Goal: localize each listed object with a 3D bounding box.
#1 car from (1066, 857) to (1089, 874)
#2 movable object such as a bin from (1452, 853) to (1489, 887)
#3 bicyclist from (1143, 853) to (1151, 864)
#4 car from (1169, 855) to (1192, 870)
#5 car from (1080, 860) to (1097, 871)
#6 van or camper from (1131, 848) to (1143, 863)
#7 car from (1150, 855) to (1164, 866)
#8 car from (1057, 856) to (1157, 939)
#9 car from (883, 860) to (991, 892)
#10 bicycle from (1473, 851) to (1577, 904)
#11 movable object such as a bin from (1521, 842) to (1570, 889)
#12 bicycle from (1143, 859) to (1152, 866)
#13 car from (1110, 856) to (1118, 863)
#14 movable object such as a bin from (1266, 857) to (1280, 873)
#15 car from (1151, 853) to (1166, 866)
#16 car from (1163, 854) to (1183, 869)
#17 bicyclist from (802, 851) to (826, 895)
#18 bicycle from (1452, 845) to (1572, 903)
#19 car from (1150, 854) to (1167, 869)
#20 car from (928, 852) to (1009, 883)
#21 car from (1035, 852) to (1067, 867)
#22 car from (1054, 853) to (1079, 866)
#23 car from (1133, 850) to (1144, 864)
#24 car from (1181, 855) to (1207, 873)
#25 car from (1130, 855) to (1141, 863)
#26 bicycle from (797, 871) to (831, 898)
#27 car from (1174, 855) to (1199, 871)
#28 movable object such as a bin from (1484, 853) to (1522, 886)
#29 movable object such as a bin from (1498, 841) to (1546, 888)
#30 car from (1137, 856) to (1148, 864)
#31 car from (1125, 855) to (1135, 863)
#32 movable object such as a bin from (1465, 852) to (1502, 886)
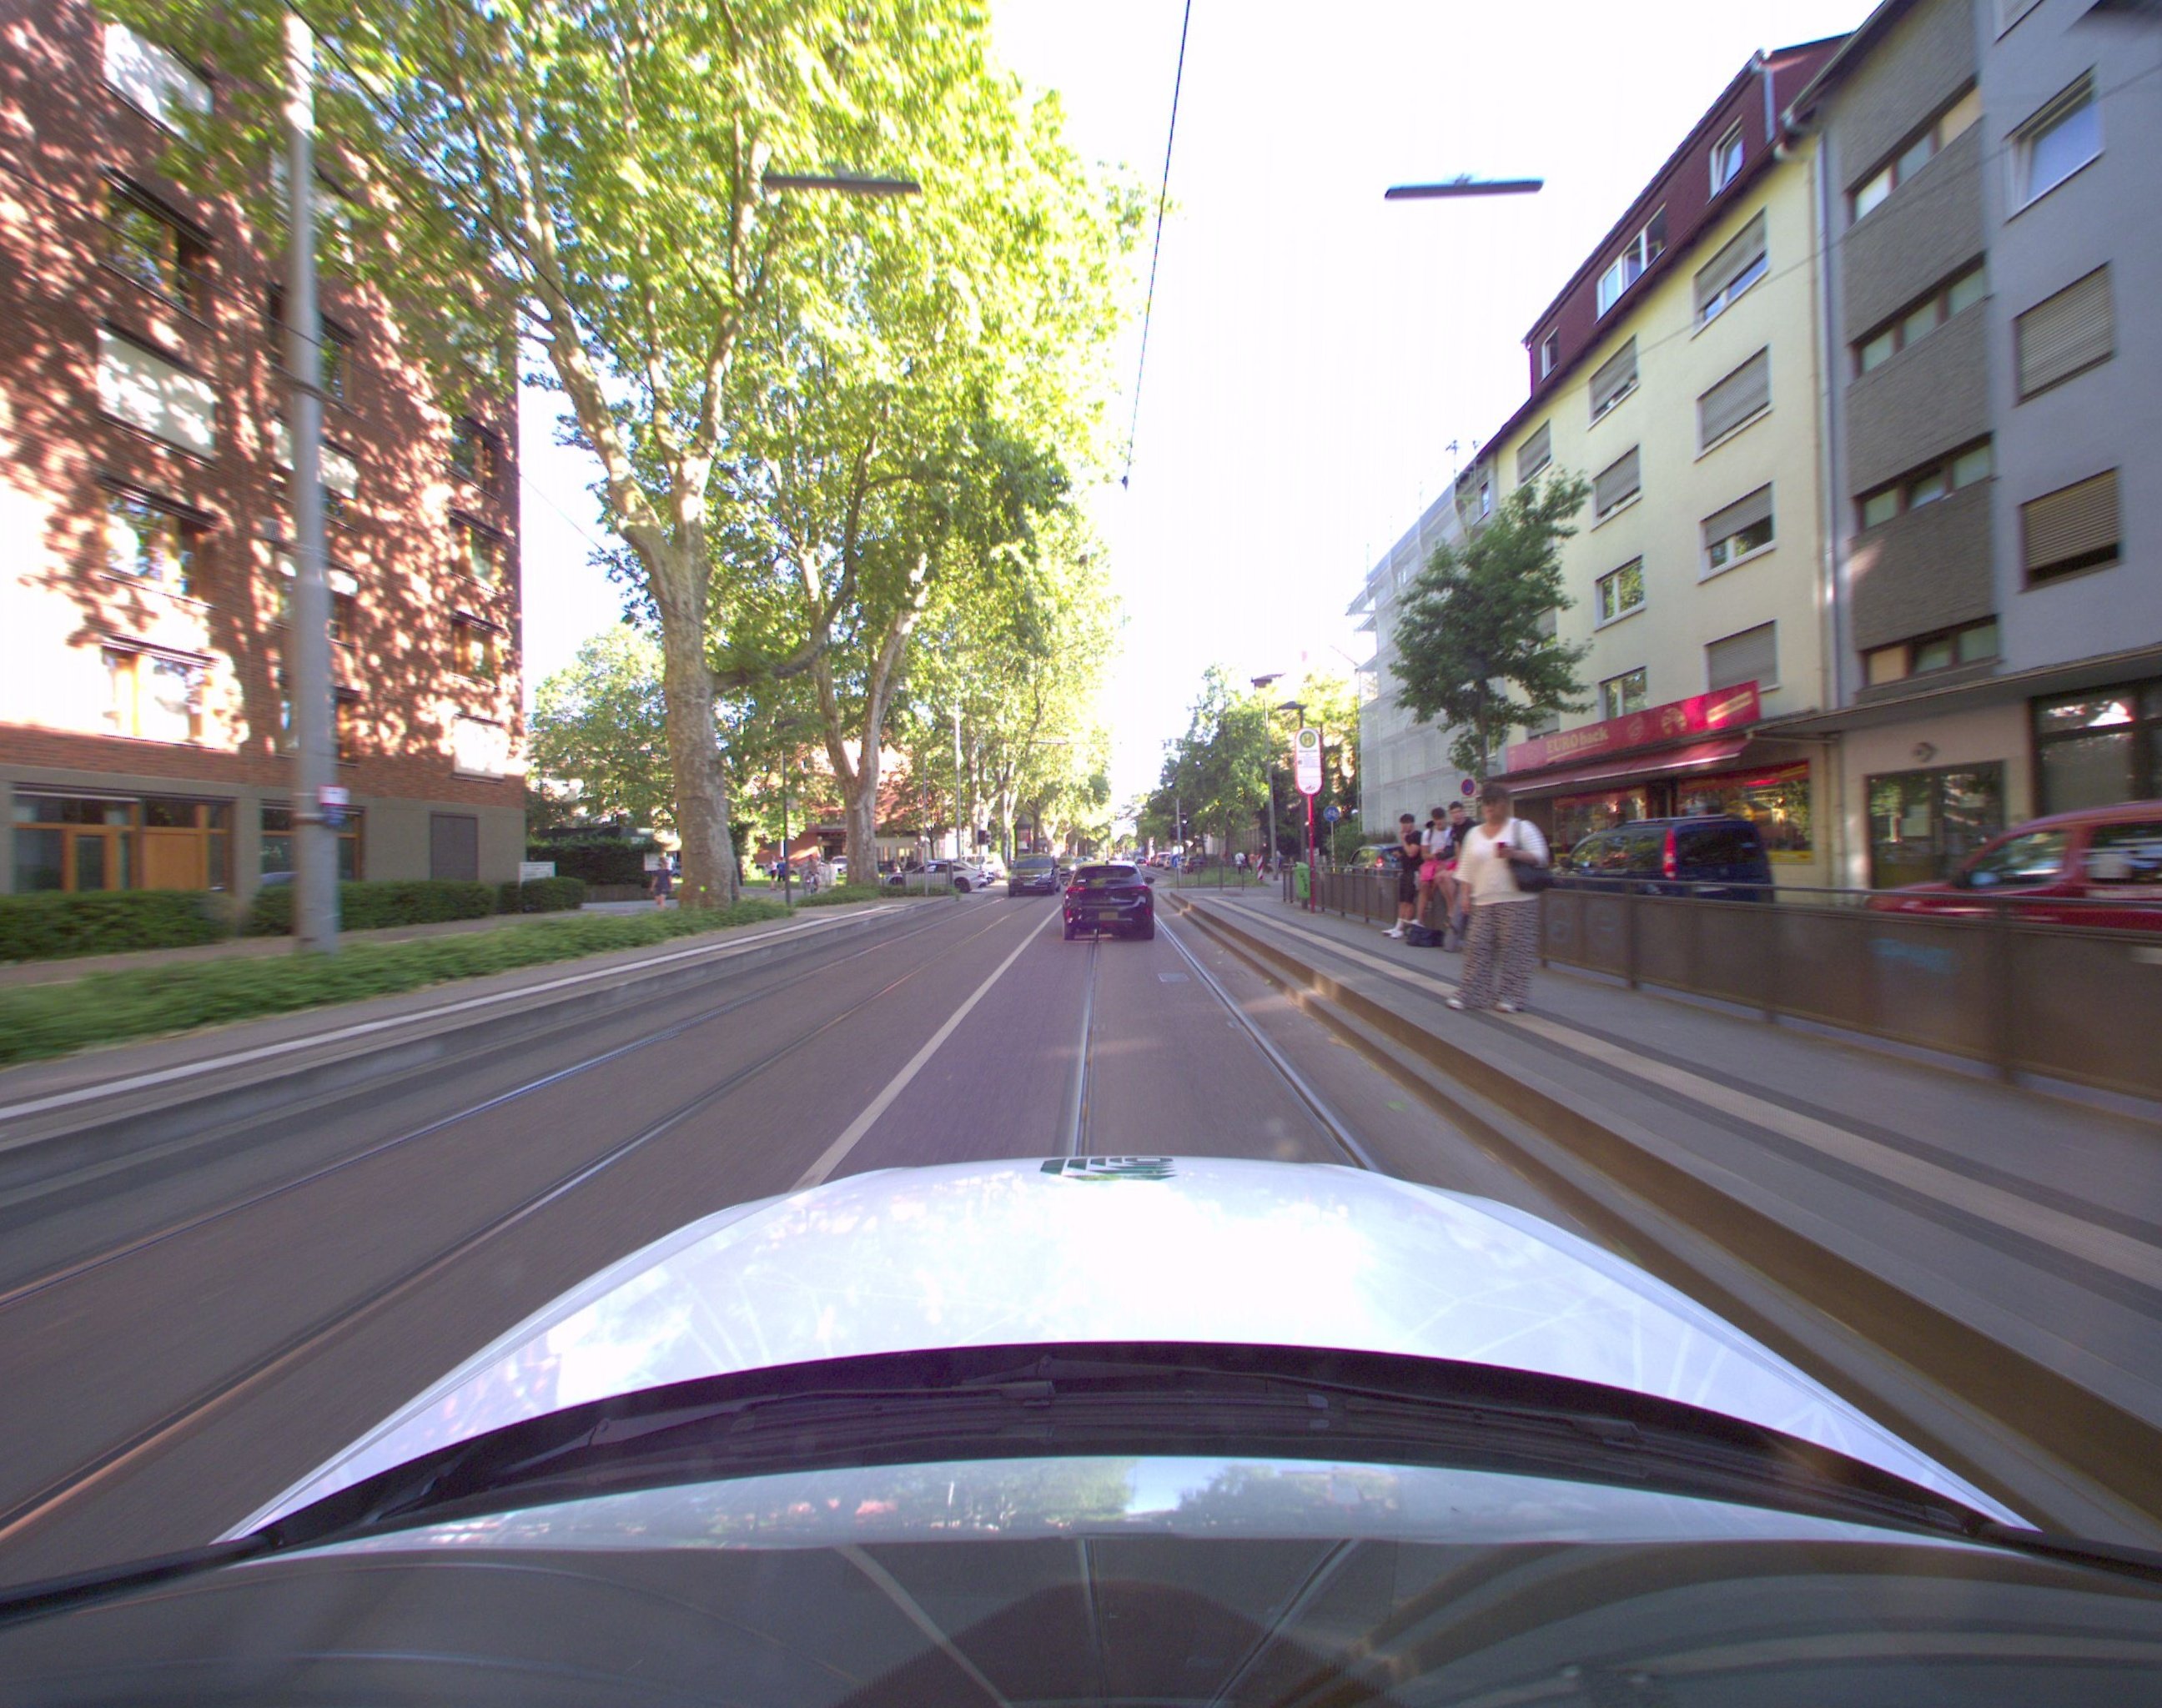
[{"bbox_3d":[-0.290,1.008,72.438,1.768,1.461,4.206,0,-1,2],"label":"car"},{"bbox_3d":[13.191,0.535,27.586,0.878,1.110,0.697,-3,-1,-1],"label":"movable object such as a bin"},{"bbox_3d":[8.555,0.599,105.132,0.955,1.499,1.094,0,-1,0],"label":"bicyclist"},{"bbox_3d":[10.643,0.875,87.441,1.878,1.467,4.593,-4,-1,0],"label":"car"},{"bbox_3d":[0.976,1.455,107.379,1.661,1.444,3.460,0,-1,-11],"label":"car"},{"bbox_3d":[12.413,0.447,181.576,2.246,3.216,5.532,-2,-1,2],"label":"van or camper"},{"bbox_3d":[11.449,1.008,122.882,1.706,1.514,4.036,-3,-1,0],"label":"car"},{"bbox_3d":[0.529,0.785,16.363,1.756,1.460,3.952,0,-1,2],"label":"car"},{"bbox_3d":[-6.716,1.024,38.374,4.753,1.460,1.953,0,-1,-3],"label":"car"},{"bbox_3d":[10.875,0.588,20.044,0.686,1.209,2.192,-2,-1,-26],"label":"bicycle"},{"bbox_3d":[13.979,0.333,24.523,0.920,1.350,0.824,-3,-1,-1],"label":"movable object such as a bin"},{"bbox_3d":[8.567,1.095,105.152,0.964,0.999,2.583,0,-1,0],"label":"bicycle"},{"bbox_3d":[9.171,1.441,225.534,2.246,1.841,5.532,-2,-1,2],"label":"car"},{"bbox_3d":[13.704,0.767,58.067,0.664,1.126,0.955,0,-1,-6],"label":"movable object such as a bin"},{"bbox_3d":[11.112,0.849,116.949,1.879,1.766,4.679,-2,-1,2],"label":"car"},{"bbox_3d":[10.384,0.867,92.190,1.877,1.568,4.243,-4,-1,1],"label":"car"},{"bbox_3d":[-11.033,0.792,33.652,0.697,1.788,0.839,0,-1,3],"label":"bicyclist"},{"bbox_3d":[10.038,0.460,19.041,2.196,1.209,1.030,-3,-1,1],"label":"bicycle"},{"bbox_3d":[10.223,0.996,107.828,1.877,1.851,4.969,-4,-1,2],"label":"car"},{"bbox_3d":[-6.747,0.810,49.123,4.556,1.834,1.938,0,-1,0],"label":"car"},{"bbox_3d":[-4.675,0.892,128.933,5.020,2.259,2.084,0,-1,-2],"label":"car"},{"bbox_3d":[-3.052,1.251,174.673,5.017,2.374,2.082,-5,-1,1],"label":"car"},{"bbox_3d":[12.251,0.671,175.008,2.077,2.772,4.699,-2,0,1],"label":"car"},{"bbox_3d":[9.911,0.875,71.405,1.667,1.412,3.842,-4,-1,0],"label":"car"},{"bbox_3d":[12.542,1.120,188.769,2.246,1.841,5.532,-2,-1,2],"label":"car"},{"bbox_3d":[-11.037,1.233,33.767,0.712,1.063,1.841,0,-1,3],"label":"bicycle"},{"bbox_3d":[10.098,0.882,77.960,1.877,1.368,4.108,-4,-1,1],"label":"car"},{"bbox_3d":[14.589,0.532,28.171,0.878,1.110,0.697,-3,-1,-1],"label":"movable object such as a bin"},{"bbox_3d":[13.753,0.323,25.401,0.996,1.397,0.824,-3,-1,-1],"label":"movable object such as a bin"},{"bbox_3d":[11.819,1.181,157.719,1.877,1.434,4.531,-4,-1,1],"label":"car"},{"bbox_3d":[12.638,1.293,209.995,2.246,1.841,5.532,-2,-1,2],"label":"car"},{"bbox_3d":[13.935,0.513,28.205,0.878,1.110,0.697,-3,-1,-1],"label":"movable object such as a bin"}]
